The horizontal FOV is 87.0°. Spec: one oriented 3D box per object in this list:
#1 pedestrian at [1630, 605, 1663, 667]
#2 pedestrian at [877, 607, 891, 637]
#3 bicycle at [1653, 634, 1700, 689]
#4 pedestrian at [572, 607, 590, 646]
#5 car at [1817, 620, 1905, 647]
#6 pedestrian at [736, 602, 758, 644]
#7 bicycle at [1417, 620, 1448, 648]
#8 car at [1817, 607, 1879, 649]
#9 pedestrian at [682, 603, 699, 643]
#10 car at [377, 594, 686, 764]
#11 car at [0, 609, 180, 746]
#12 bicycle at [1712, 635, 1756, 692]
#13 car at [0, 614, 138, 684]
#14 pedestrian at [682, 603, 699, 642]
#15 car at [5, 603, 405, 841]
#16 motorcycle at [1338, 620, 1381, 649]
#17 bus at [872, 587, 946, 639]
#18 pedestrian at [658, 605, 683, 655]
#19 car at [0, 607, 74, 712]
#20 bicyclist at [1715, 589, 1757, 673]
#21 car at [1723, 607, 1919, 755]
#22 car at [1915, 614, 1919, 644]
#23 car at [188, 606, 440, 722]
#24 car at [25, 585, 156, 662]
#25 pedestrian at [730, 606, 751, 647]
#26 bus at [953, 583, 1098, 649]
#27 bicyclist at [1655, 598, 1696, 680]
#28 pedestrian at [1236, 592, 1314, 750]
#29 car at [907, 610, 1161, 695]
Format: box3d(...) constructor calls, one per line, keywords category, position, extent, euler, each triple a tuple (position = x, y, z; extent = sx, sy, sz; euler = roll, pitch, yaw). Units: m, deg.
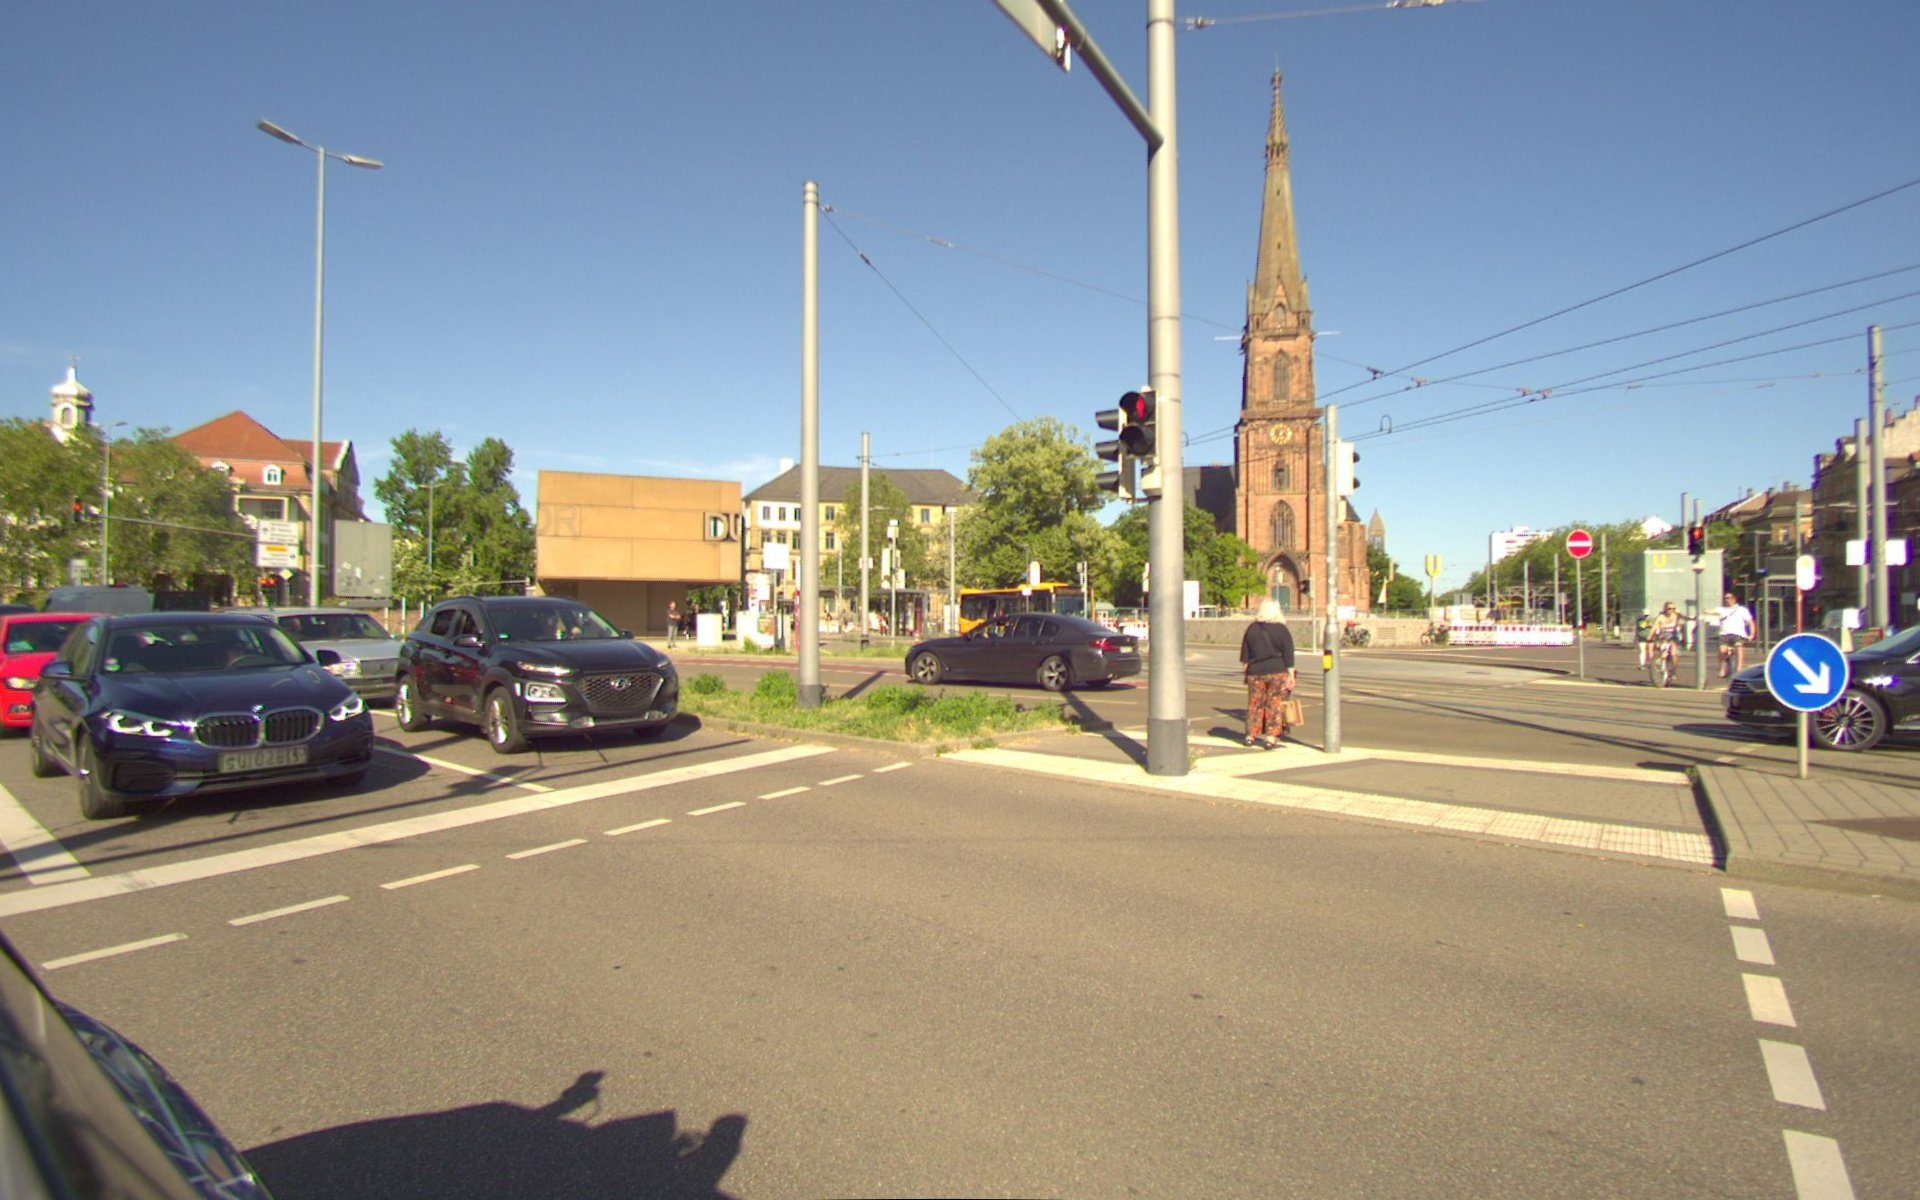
box3d(category="pedestrian", position=(18.305, 0.953, 26.982), extent=(0.608, 1.620, 0.705), euler=(-1, 0, 41))
box3d(category="pedestrian", position=(-4.773, 1.375, 63.534), extent=(0.679, 1.875, 0.731), euler=(-1, 0, -19))
box3d(category="bicycle", position=(14.158, 1.184, 19.967), extent=(0.615, 0.997, 2.444), euler=(-1, -2, 38))
box3d(category="pedestrian", position=(-16.973, 1.187, 45.320), extent=(0.634, 1.725, 0.703), euler=(-1, 0, -9))
box3d(category="car", position=(47.302, 1.730, 53.242), extent=(1.897, 1.371, 3.978), euler=(-1, -1, 16))
box3d(category="pedestrian", position=(-9.523, 1.018, 45.169), extent=(0.822, 1.843, 0.862), euler=(-1, 0, -19))
box3d(category="bicycle", position=(22.786, 1.624, 48.763), extent=(1.476, 1.279, 0.366), euler=(-1, 0, -18))
box3d(category="car", position=(71.085, 2.197, 81.111), extent=(1.985, 3.130, 4.889), euler=(-1, 0, 20))
box3d(category="pedestrian", position=(-14.440, 1.221, 54.292), extent=(0.844, 2.091, 0.612), euler=(-1, 0, -14))
box3d(category="car", position=(-4.848, 0.738, 11.194), extent=(3.914, 1.543, 1.664), euler=(-1, 0, 42))
box3d(category="car", position=(-11.535, 0.875, 12.919), extent=(4.010, 1.469, 1.692), euler=(-1, 0, 40))
box3d(category="bicycle", position=(14.825, 1.176, 19.369), extent=(0.615, 0.997, 2.444), euler=(-1, -2, 38))
box3d(category="car", position=(-21.411, 1.103, 24.183), extent=(4.655, 1.469, 1.802), euler=(-1, 0, 39))
box3d(category="pedestrian", position=(-14.727, 1.207, 55.370), extent=(0.844, 2.091, 0.612), euler=(-1, 0, -14))
box3d(category="car", position=(-6.400, 0.794, 8.414), extent=(4.011, 1.469, 1.862), euler=(-1, 0, 41))
box3d(category="motorcycle", position=(18.501, 1.600, 46.838), extent=(2.070, 1.263, 0.536), euler=(-1, 0, -23))
box3d(category="bus", position=(-3.342, 0.864, 63.887), extent=(2.104, 3.069, 8.585), euler=(-1, -1, -21))
box3d(category="pedestrian", position=(-11.007, 1.125, 38.504), extent=(0.844, 1.843, 0.704), euler=(-1, 0, -14))
box3d(category="car", position=(-16.011, 0.921, 16.323), extent=(4.114, 1.546, 1.739), euler=(-1, 0, 36))
box3d(category="bicyclist", position=(14.805, 0.575, 19.302), extent=(0.595, 1.561, 0.983), euler=(-1, -1, 39))
box3d(category="car", position=(10.614, 0.780, 10.123), extent=(4.458, 1.427, 1.835), euler=(-1, -1, 27))
box3d(category="car", position=(44.627, 1.277, 44.695), extent=(1.897, 1.371, 3.978), euler=(-1, -1, 16))
box3d(category="car", position=(-9.848, 0.859, 15.278), extent=(4.655, 1.469, 1.802), euler=(-1, 0, 39))
box3d(category="car", position=(-32.711, 0.847, 38.033), extent=(5.288, 2.701, 2.220), euler=(-1, 0, 32))
box3d(category="pedestrian", position=(-10.071, 1.185, 46.480), extent=(0.822, 1.843, 0.862), euler=(-1, 0, -19))
box3d(category="bus", position=(3.235, 0.685, 55.447), extent=(2.801, 3.144, 11.860), euler=(-1, 1, -24))
box3d(category="bicyclist", position=(13.993, 0.745, 19.790), extent=(0.576, 1.540, 0.944), euler=(-1, 0, 39))
box3d(category="pedestrian", position=(3.233, 0.703, 10.409), extent=(0.367, 1.567, 0.645), euler=(-1, 0, -41))
box3d(category="car", position=(1.361, 0.950, 19.653), extent=(4.635, 1.469, 1.865), euler=(-1, -1, 36))
